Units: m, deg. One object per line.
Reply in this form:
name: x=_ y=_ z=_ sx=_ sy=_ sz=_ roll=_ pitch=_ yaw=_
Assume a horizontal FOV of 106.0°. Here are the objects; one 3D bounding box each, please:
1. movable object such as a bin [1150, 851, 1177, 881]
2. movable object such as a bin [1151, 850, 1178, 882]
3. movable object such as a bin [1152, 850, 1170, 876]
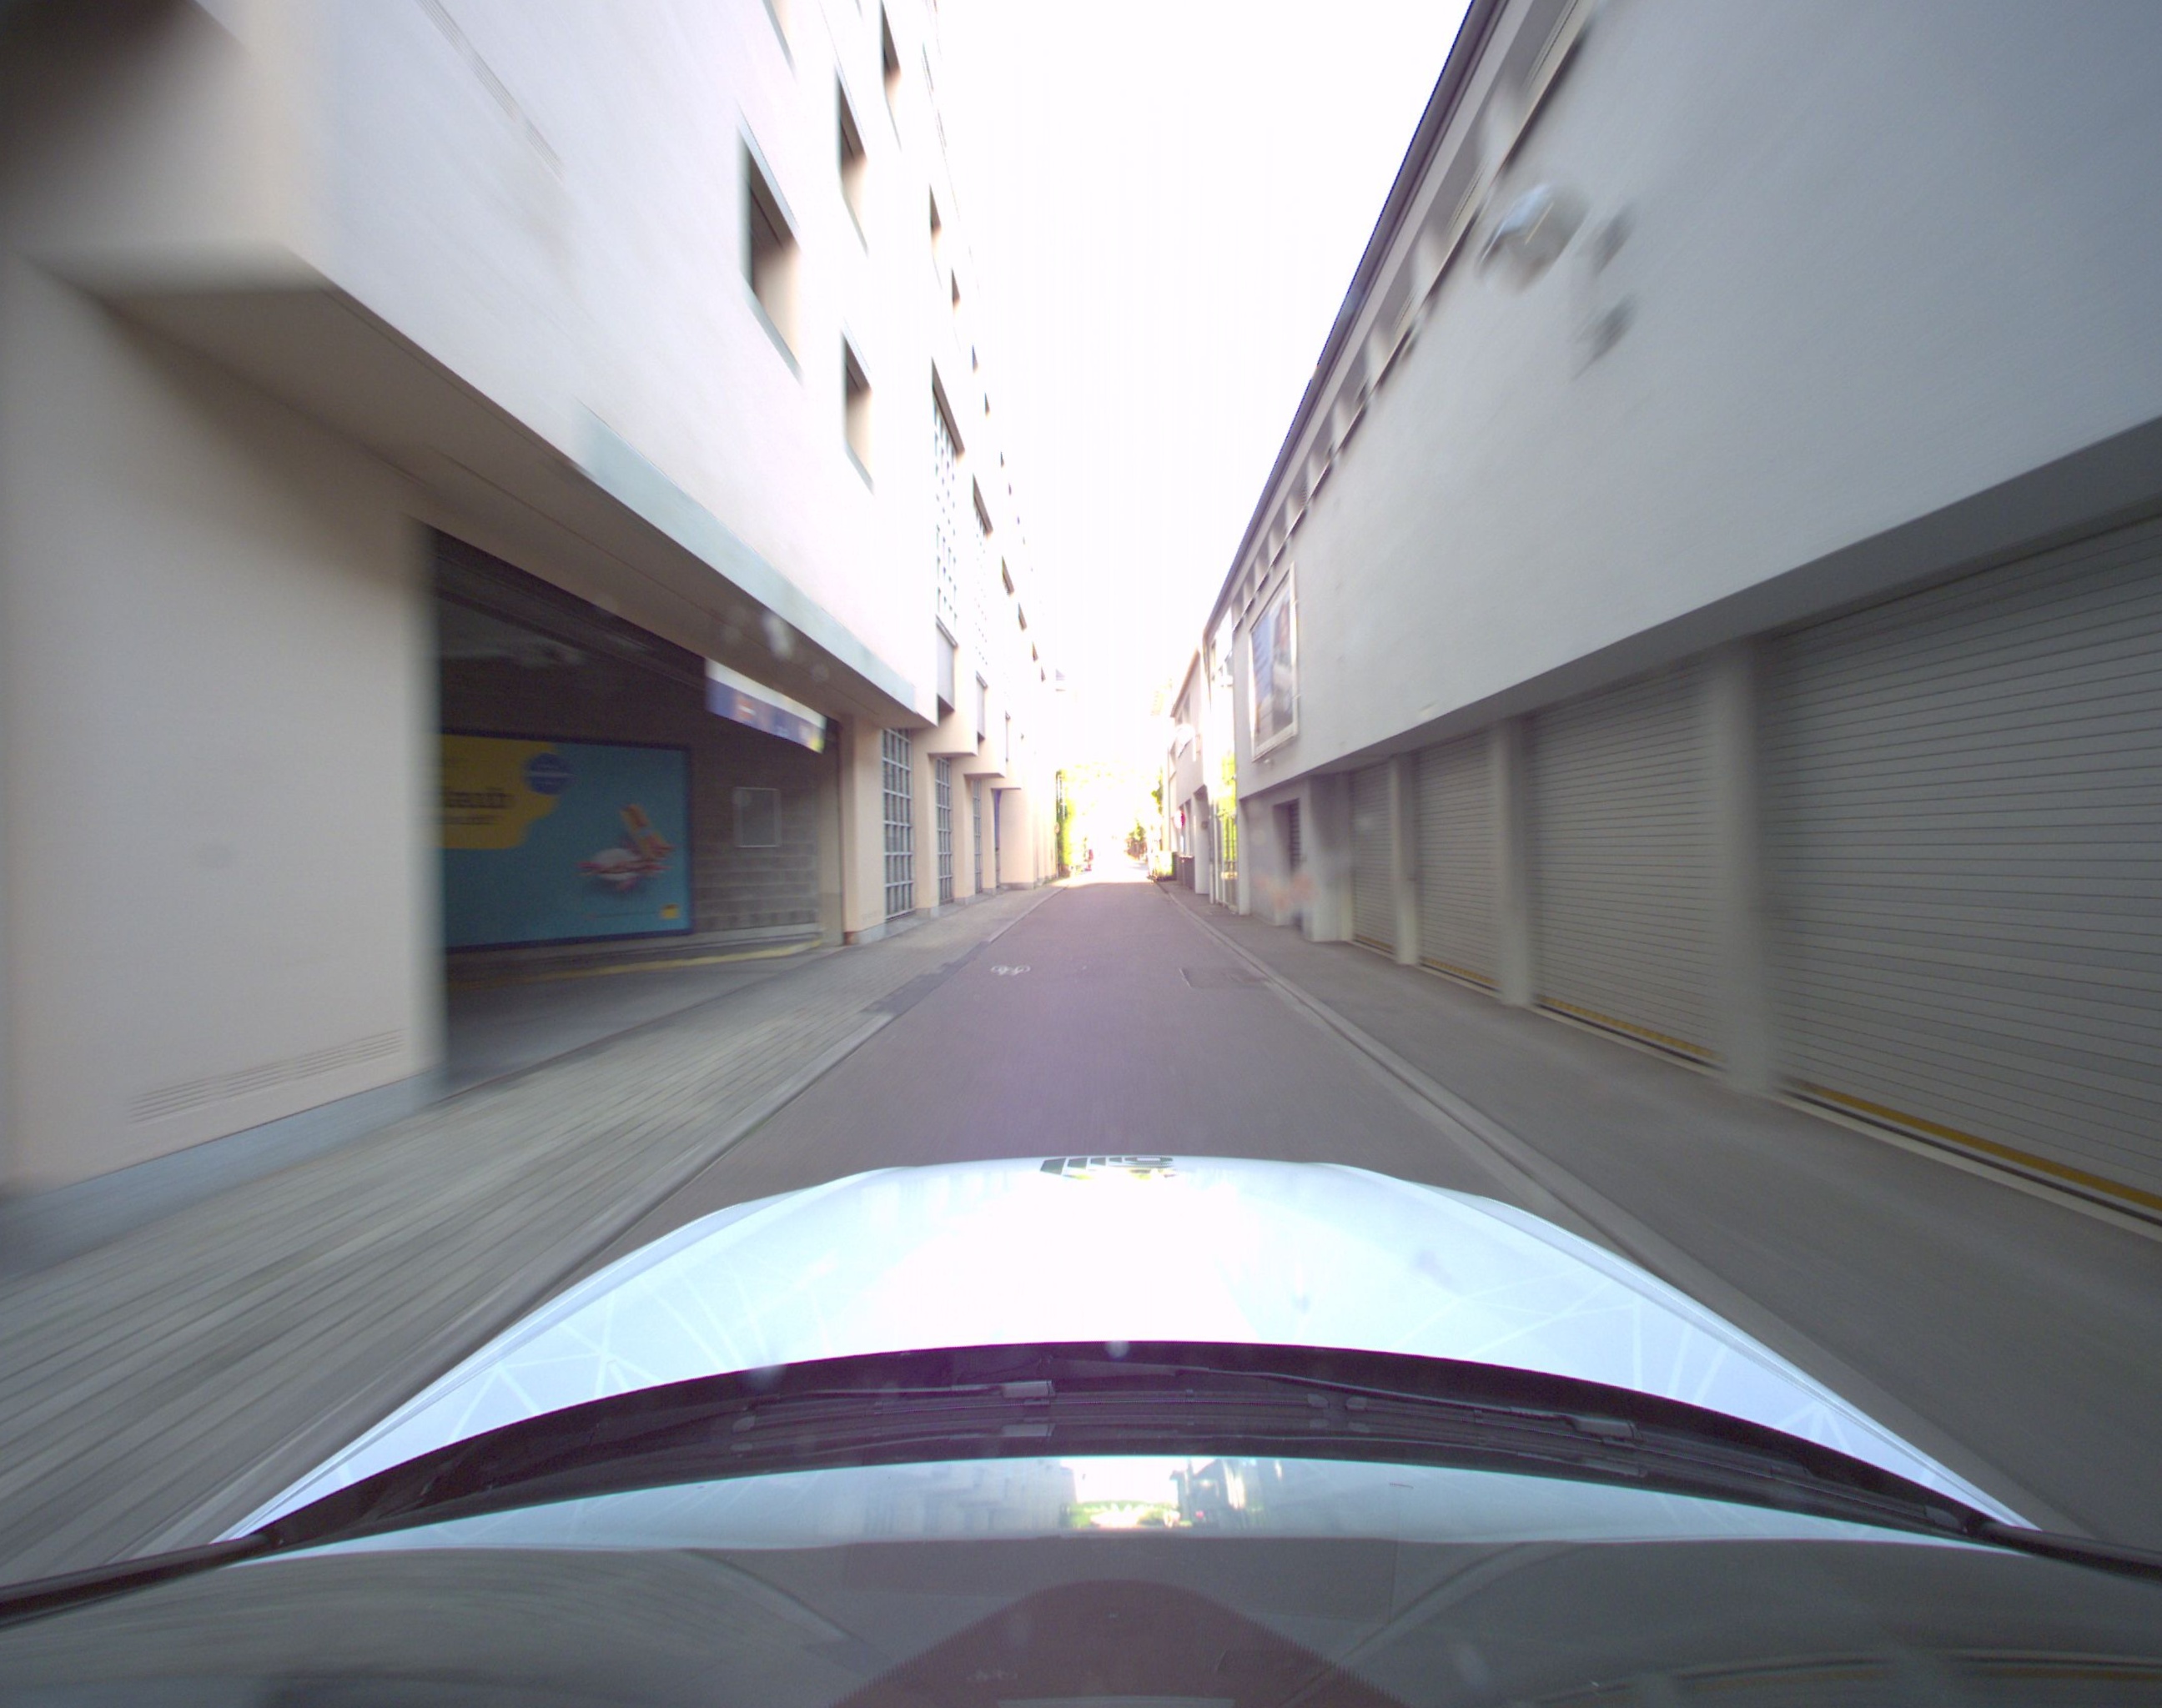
movable object such as a bin: x=3.909 y=0.562 z=38.809 sx=1.061 sy=1.366 sz=1.342 roll=-4 pitch=0 yaw=0
movable object such as a bin: x=3.822 y=0.555 z=37.406 sx=0.935 sy=1.366 sz=1.340 roll=-4 pitch=0 yaw=-4
movable object such as a bin: x=4.276 y=0.472 z=43.454 sx=0.831 sy=1.305 sz=1.292 roll=-4 pitch=0 yaw=5
